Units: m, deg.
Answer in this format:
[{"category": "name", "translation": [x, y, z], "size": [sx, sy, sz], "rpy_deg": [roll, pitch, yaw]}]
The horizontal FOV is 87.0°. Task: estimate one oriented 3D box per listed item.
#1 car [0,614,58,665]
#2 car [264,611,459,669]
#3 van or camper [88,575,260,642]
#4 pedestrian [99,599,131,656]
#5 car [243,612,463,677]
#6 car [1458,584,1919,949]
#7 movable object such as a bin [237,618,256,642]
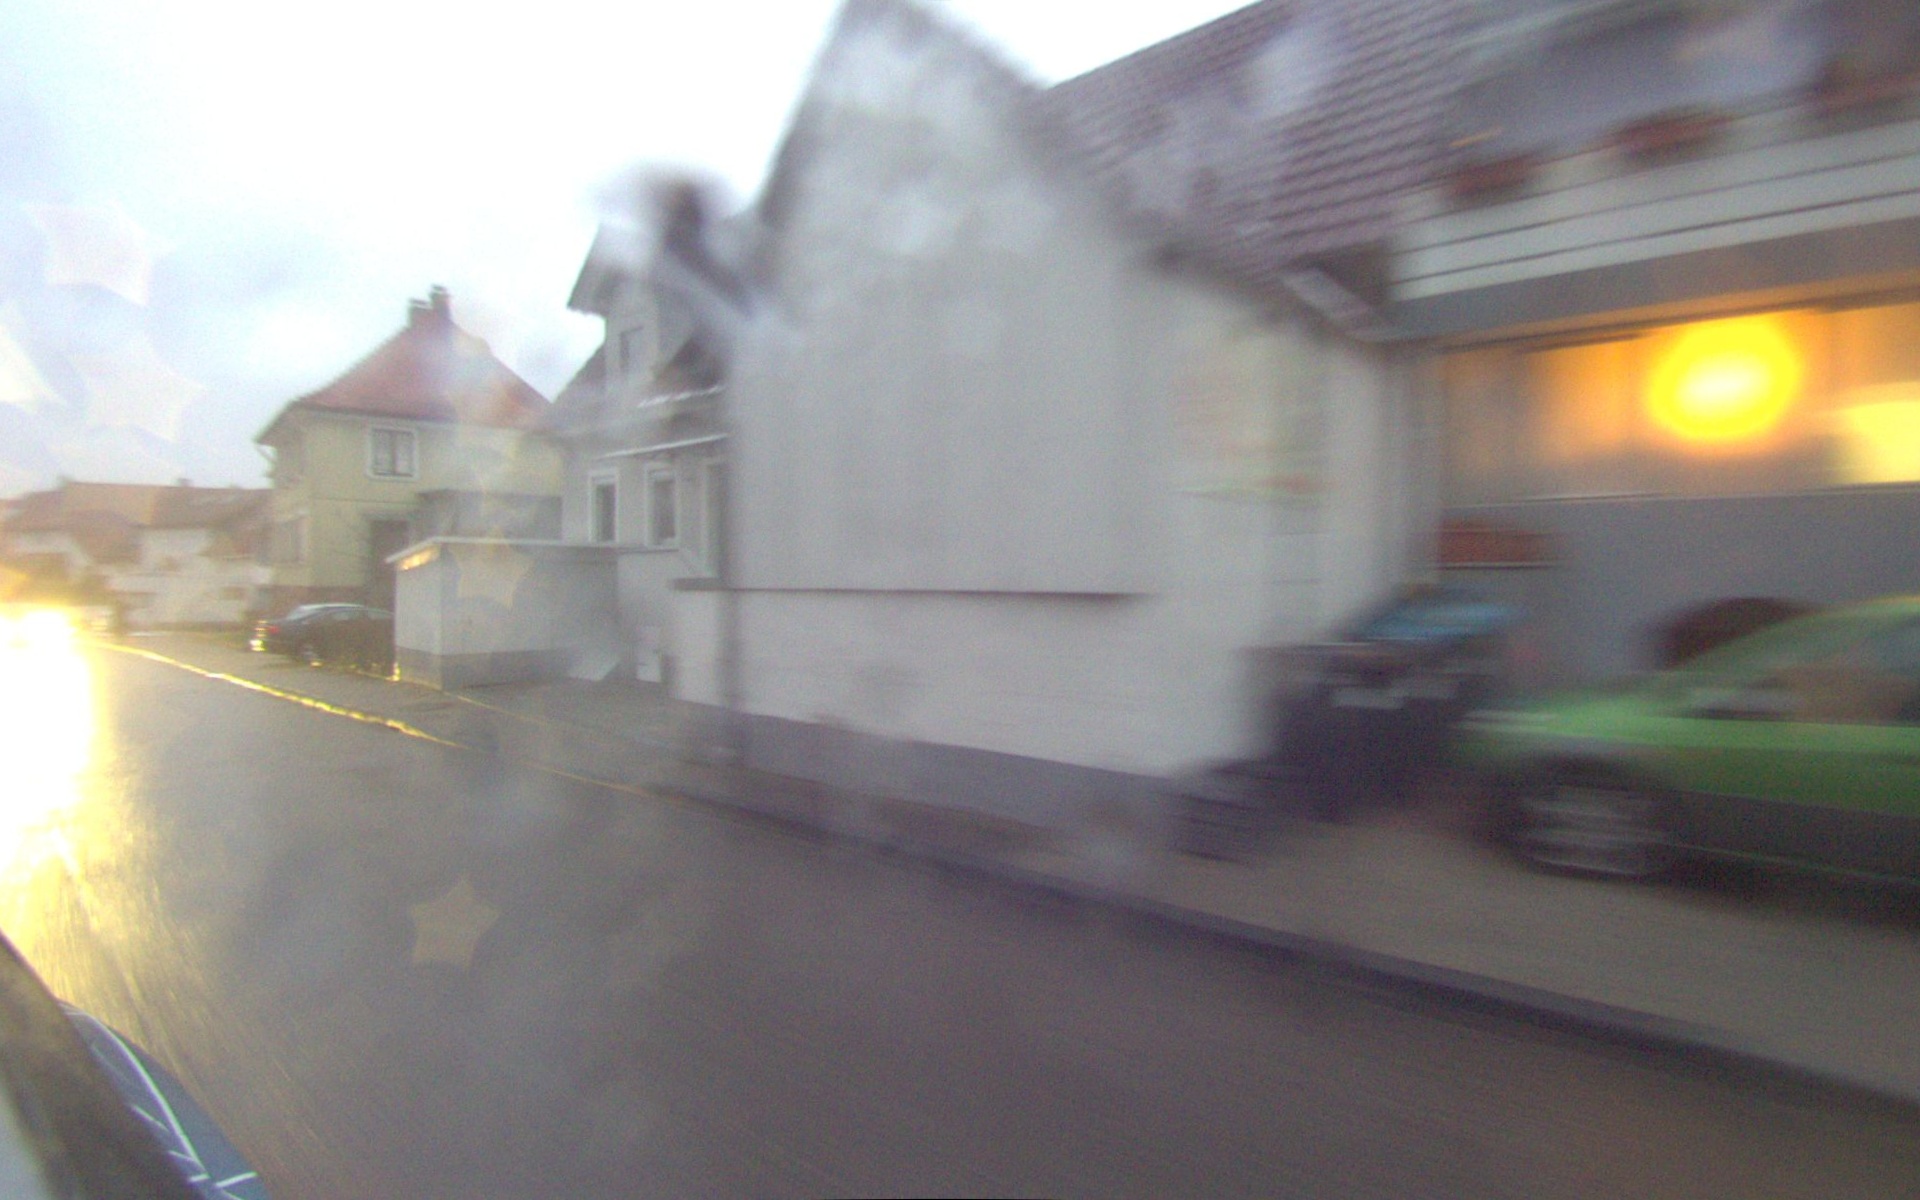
[{"category": "car", "translation": [-31.761, 1.275, 33.843], "size": [4.235, 1.569, 1.964], "rpy_deg": [-1, 1, 43]}, {"category": "car", "translation": [-16.912, 1.067, 28.720], "size": [4.545, 1.481, 1.895], "rpy_deg": [0, 0, -40]}, {"category": "van or camper", "translation": [-36.590, 0.457, 47.261], "size": [2.324, 2.964, 5.990], "rpy_deg": [-1, -2, 44]}, {"category": "pedestrian", "translation": [-31.103, 0.988, 37.242], "size": [0.870, 2.028, 0.775], "rpy_deg": [0, 2, 45]}, {"category": "car", "translation": [-15.576, 1.083, 26.123], "size": [4.539, 1.481, 2.002], "rpy_deg": [0, 0, -44]}, {"category": "car", "translation": [4.502, 0.657, 4.485], "size": [1.600, 1.432, 3.807], "rpy_deg": [-2, 1, -43]}, {"category": "movable object such as a bin", "translation": [-31.473, 1.316, 44.654], "size": [0.609, 1.028, 0.581], "rpy_deg": [-2, 0, -41]}]
